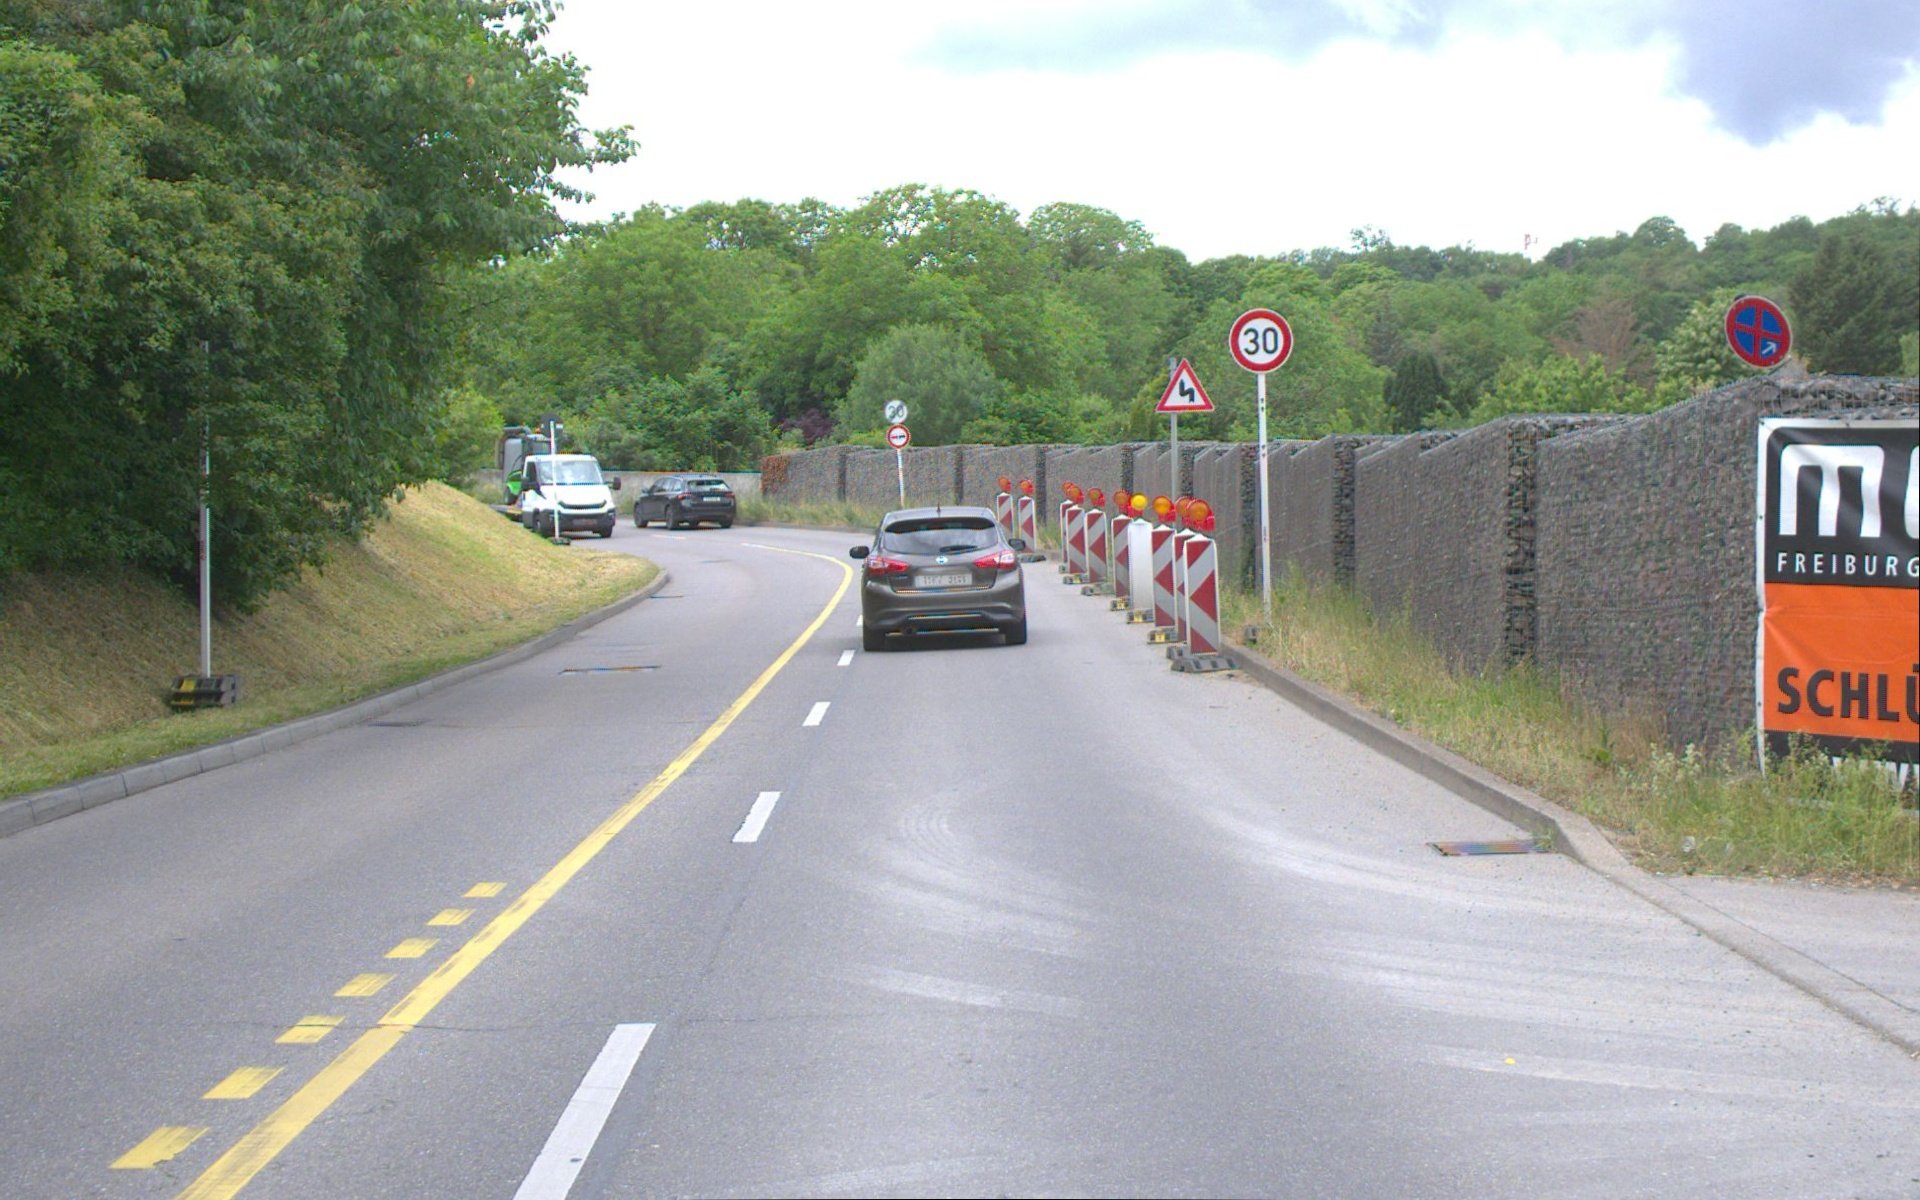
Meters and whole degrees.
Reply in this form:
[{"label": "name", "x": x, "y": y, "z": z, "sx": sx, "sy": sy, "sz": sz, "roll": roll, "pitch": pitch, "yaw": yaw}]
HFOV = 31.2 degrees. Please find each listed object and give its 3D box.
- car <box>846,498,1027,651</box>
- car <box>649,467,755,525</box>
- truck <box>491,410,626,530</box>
[{"label": "car", "x": -0.227, "y": -0.329, "z": 38.196, "sx": 1.839, "sy": 1.478, "sz": 4.001, "roll": -2, "pitch": 2, "yaw": 1}, {"label": "car", "x": -7.070, "y": -2.831, "z": 93.916, "sx": 1.779, "sy": 1.448, "sz": 3.859, "roll": 1, "pitch": 0, "yaw": -22}, {"label": "truck", "x": -10.773, "y": -3.458, "z": 91.695, "sx": 2.214, "sy": 3.004, "sz": 7.742, "roll": -2, "pitch": 2, "yaw": -16}]
